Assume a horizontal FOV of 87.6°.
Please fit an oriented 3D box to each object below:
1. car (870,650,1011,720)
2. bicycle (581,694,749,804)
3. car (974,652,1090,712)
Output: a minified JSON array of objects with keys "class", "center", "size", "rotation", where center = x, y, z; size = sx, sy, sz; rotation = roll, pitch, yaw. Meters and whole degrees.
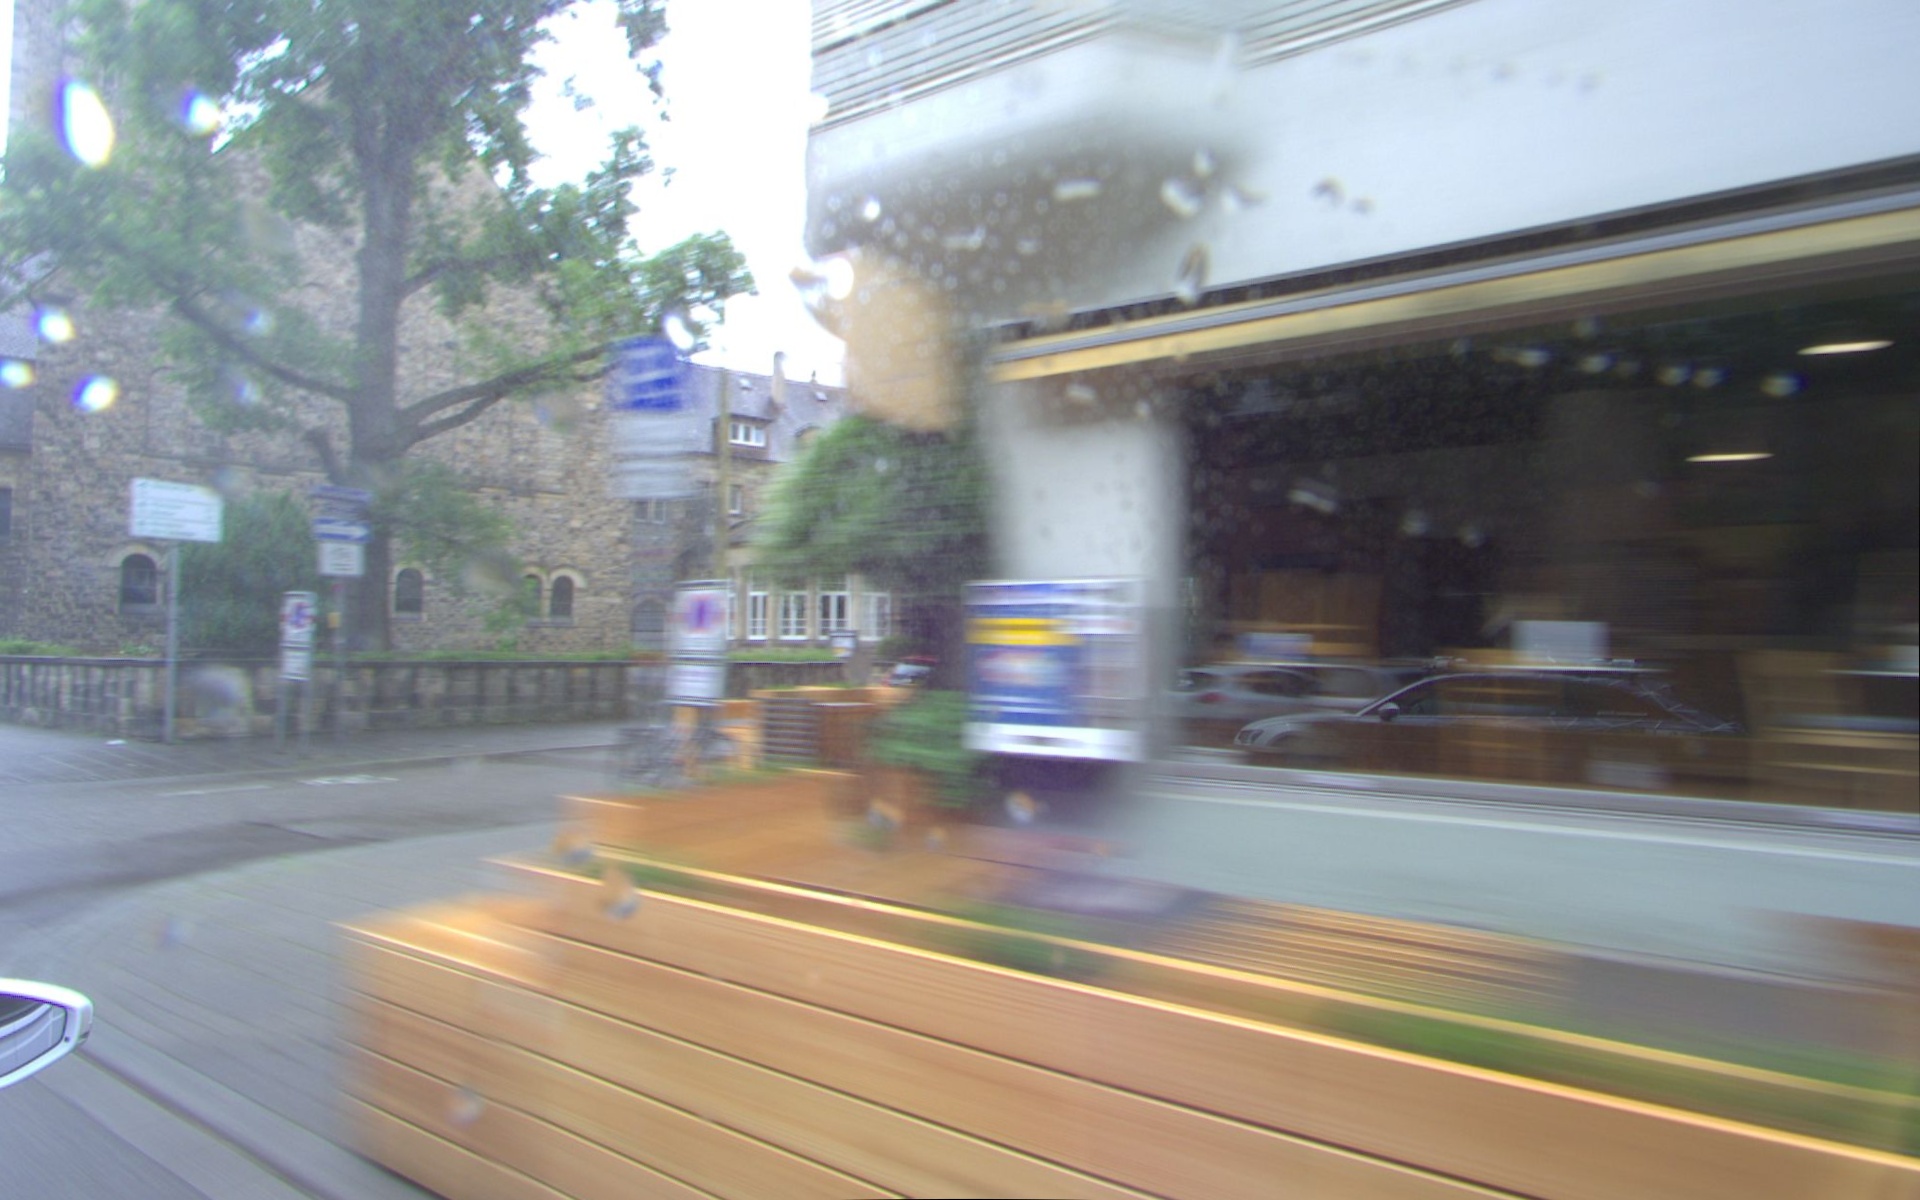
[{"class":"car","center":[-0.414,2.098,25.423],"size":[1.690,1.576,3.836],"rotation":[1,-2,33]},{"class":"bicycle","center":[-2.932,1.447,9.854],"size":[1.894,0.990,0.451],"rotation":[-5,-5,32]},{"class":"car","center":[2.171,2.351,29.325],"size":[1.690,1.575,3.956],"rotation":[1,-2,33]}]
